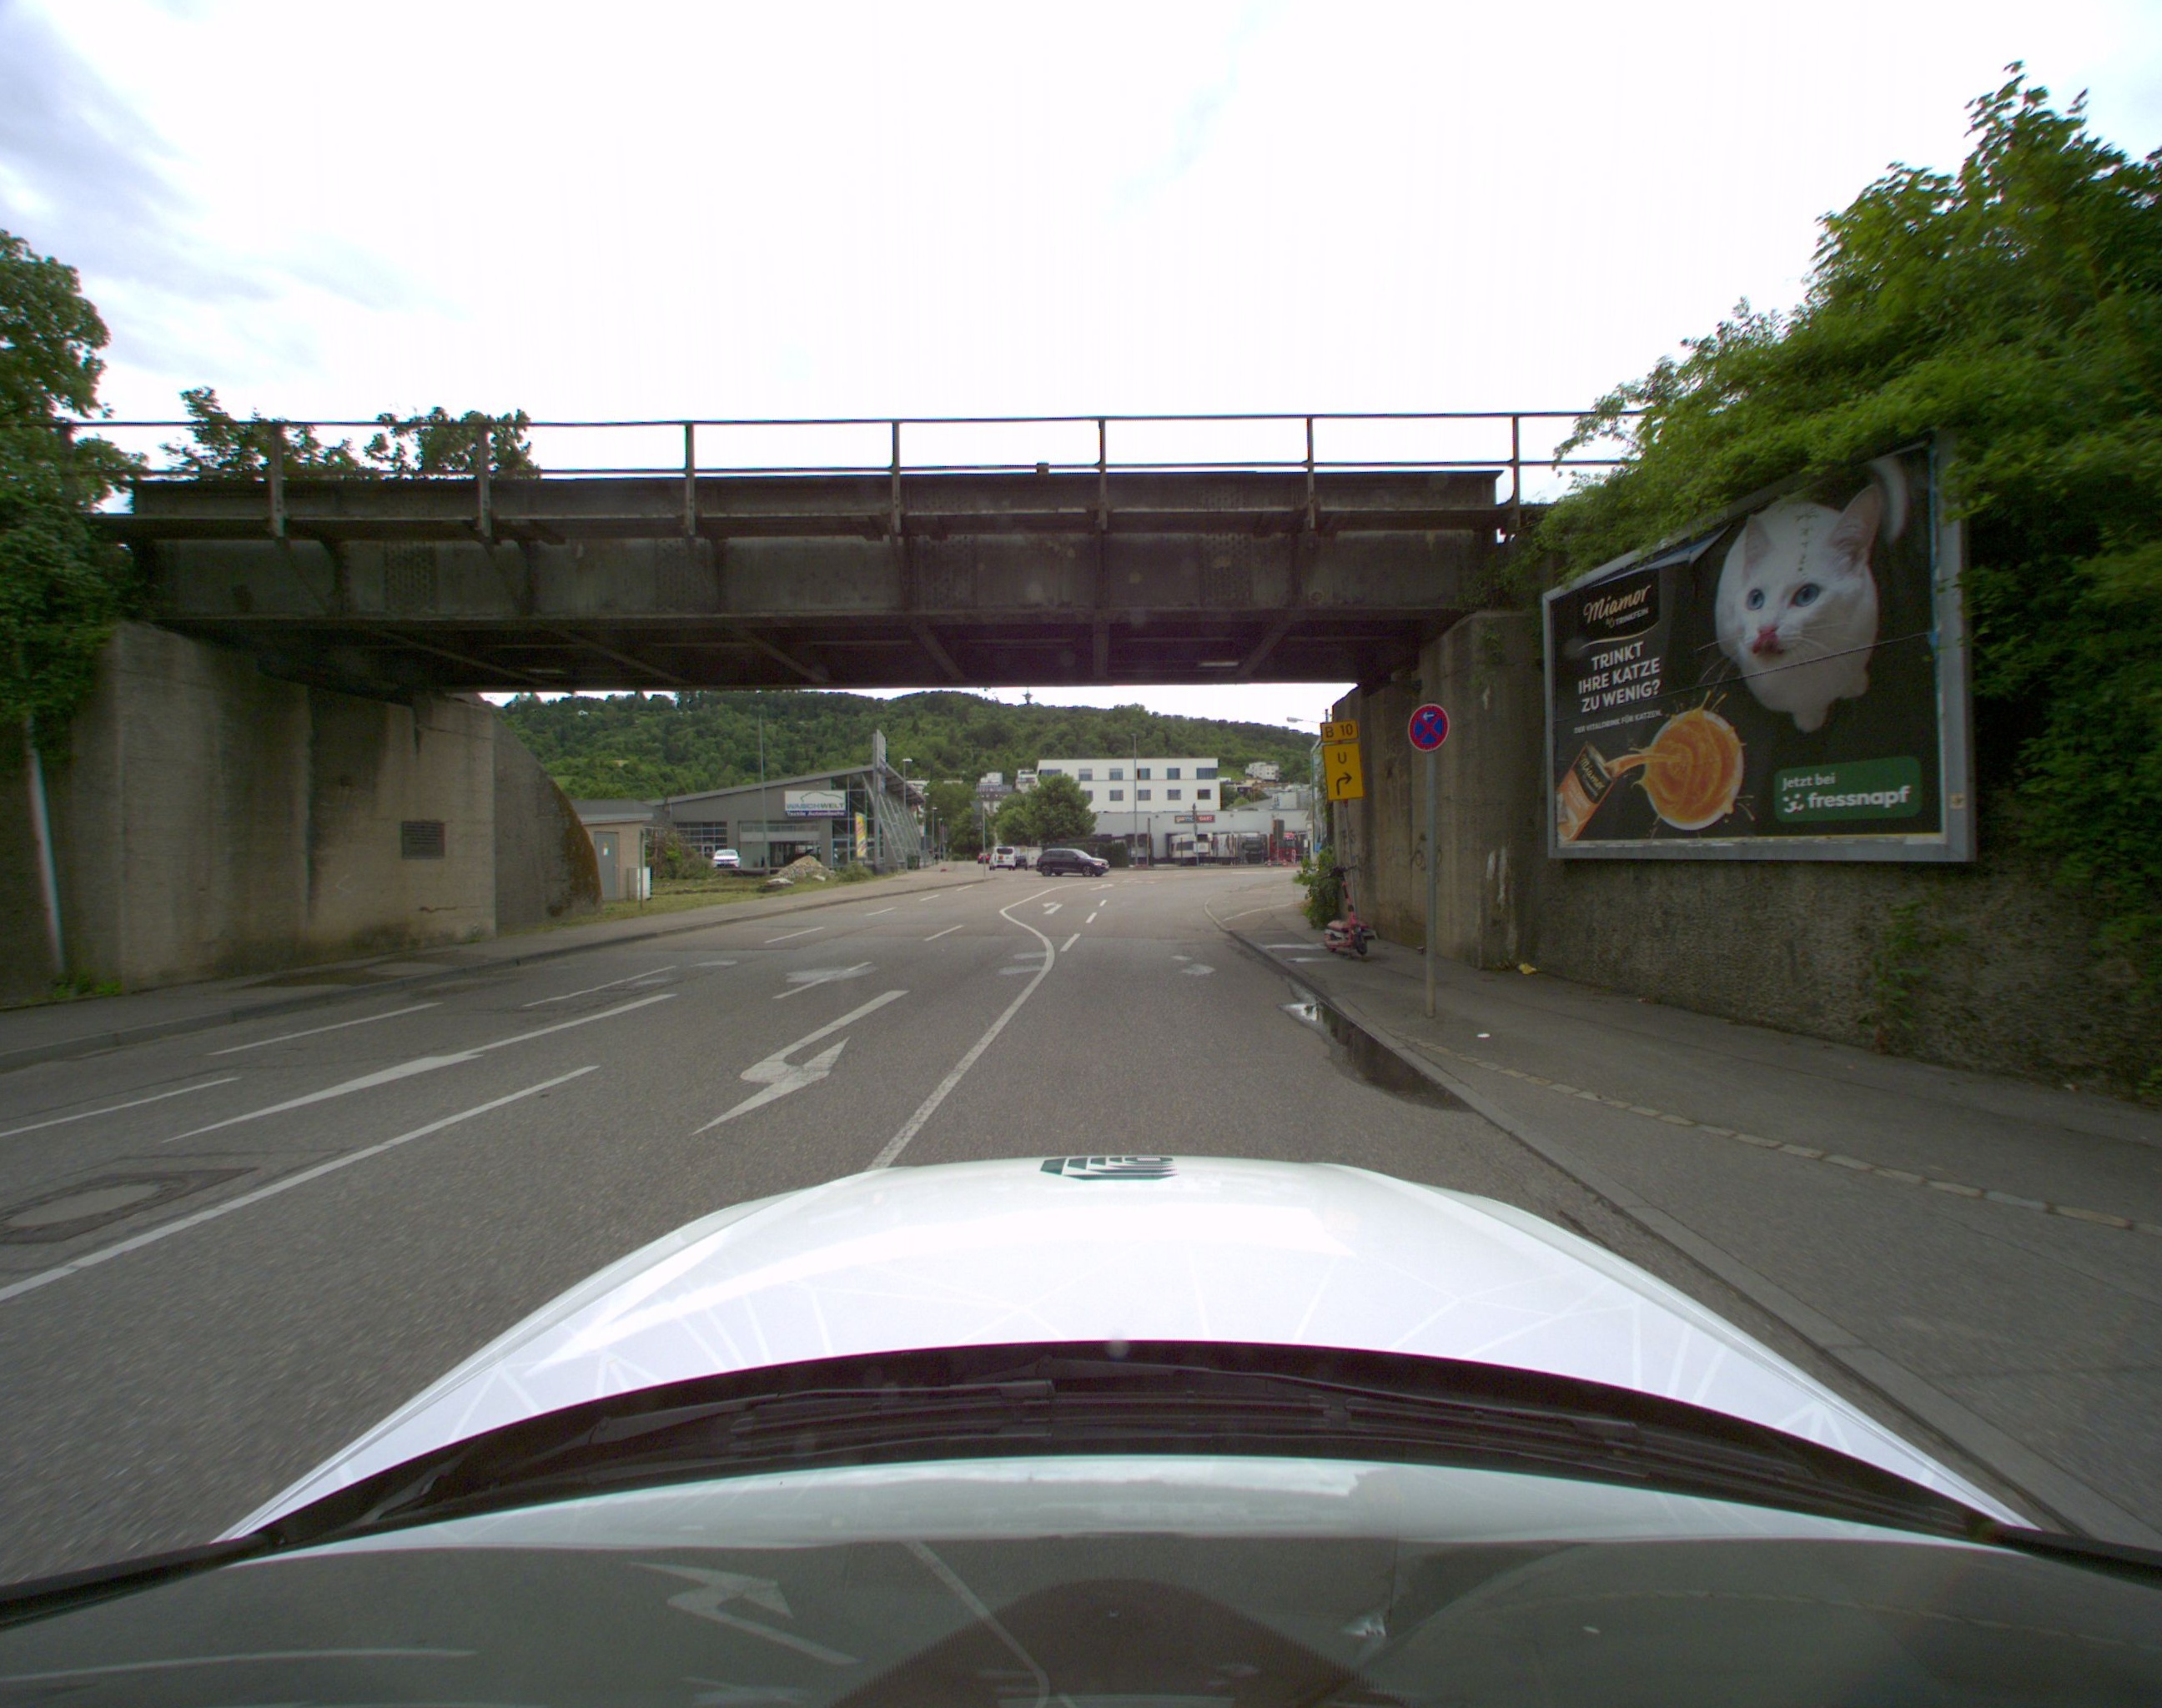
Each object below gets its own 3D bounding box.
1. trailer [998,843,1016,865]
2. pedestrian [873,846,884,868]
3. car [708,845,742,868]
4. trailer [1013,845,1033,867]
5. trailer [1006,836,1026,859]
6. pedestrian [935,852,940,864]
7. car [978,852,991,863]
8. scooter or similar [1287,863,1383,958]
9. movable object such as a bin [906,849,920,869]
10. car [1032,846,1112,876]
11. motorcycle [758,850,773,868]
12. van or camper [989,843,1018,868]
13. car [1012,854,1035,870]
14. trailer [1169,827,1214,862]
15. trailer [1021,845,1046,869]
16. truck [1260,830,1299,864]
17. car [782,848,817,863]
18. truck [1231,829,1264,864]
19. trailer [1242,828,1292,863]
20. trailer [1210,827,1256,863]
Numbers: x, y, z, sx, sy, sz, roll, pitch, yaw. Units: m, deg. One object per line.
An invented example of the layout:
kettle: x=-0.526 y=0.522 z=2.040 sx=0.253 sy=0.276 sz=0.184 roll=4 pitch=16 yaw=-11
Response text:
trailer: x=-10.178 y=0.024 z=112.164 sx=2.277 sy=2.953 sz=3.990 roll=0 pitch=0 yaw=-8
pedestrian: x=-17.485 y=0.240 z=70.362 sx=0.828 sy=1.868 sz=0.714 roll=-2 pitch=0 yaw=-19
car: x=-24.413 y=0.158 z=56.012 sx=2.001 sy=1.535 sz=3.971 roll=-1 pitch=0 yaw=-22
trailer: x=-6.443 y=0.234 z=90.483 sx=1.992 sy=2.343 sz=3.990 roll=0 pitch=0 yaw=-8
trailer: x=-10.765 y=-1.085 z=134.571 sx=3.066 sy=3.759 sz=4.921 roll=0 pitch=0 yaw=-8
pedestrian: x=-20.795 y=0.627 z=117.907 sx=0.628 sy=1.673 sz=0.755 roll=-1 pitch=-1 yaw=-11
car: x=-15.566 y=0.572 z=131.503 sx=1.990 sy=1.684 sz=3.993 roll=-1 pitch=-1 yaw=-5
scooter or similar: x=3.602 y=0.761 z=11.709 sx=0.504 sy=1.236 sz=1.663 roll=-5 pitch=0 yaw=-11
movable object such as a bin: x=-15.157 y=0.431 z=73.509 sx=1.141 sy=1.757 sz=1.057 roll=-1 pitch=-1 yaw=-6
car: x=-0.495 y=0.409 z=48.398 sx=4.325 sy=1.684 sz=2.008 roll=-1 pitch=-1 yaw=15
motorcycle: x=-29.748 y=0.457 z=76.828 sx=0.840 sy=1.710 sz=2.356 roll=-1 pitch=0 yaw=-9
van or camper: x=-6.816 y=0.116 z=71.014 sx=2.100 sy=2.083 sz=4.188 roll=-1 pitch=-1 yaw=-12
car: x=-6.006 y=0.793 z=84.781 sx=1.993 sy=1.508 sz=4.169 roll=0 pitch=1 yaw=-9
trailer: x=13.649 y=-1.115 z=101.409 sx=3.076 sy=4.077 sz=11.388 roll=-1 pitch=0 yaw=-5
trailer: x=-4.257 y=0.230 z=72.692 sx=1.992 sy=2.013 sz=3.990 roll=0 pitch=0 yaw=-8
truck: x=23.554 y=-0.792 z=96.917 sx=2.788 sy=3.928 sz=5.915 roll=-1 pitch=0 yaw=-5
car: x=-34.511 y=0.166 z=99.931 sx=3.998 sy=1.728 sz=1.988 roll=-1 pitch=0 yaw=-18
truck: x=19.529 y=-0.892 z=95.717 sx=2.789 sy=4.040 sz=4.158 roll=-1 pitch=0 yaw=-5
trailer: x=23.095 y=-0.986 z=101.893 sx=2.779 sy=4.077 sz=10.976 roll=-1 pitch=0 yaw=-5
trailer: x=18.953 y=-1.017 z=102.373 sx=2.779 sy=4.301 sz=11.161 roll=-1 pitch=0 yaw=-5
